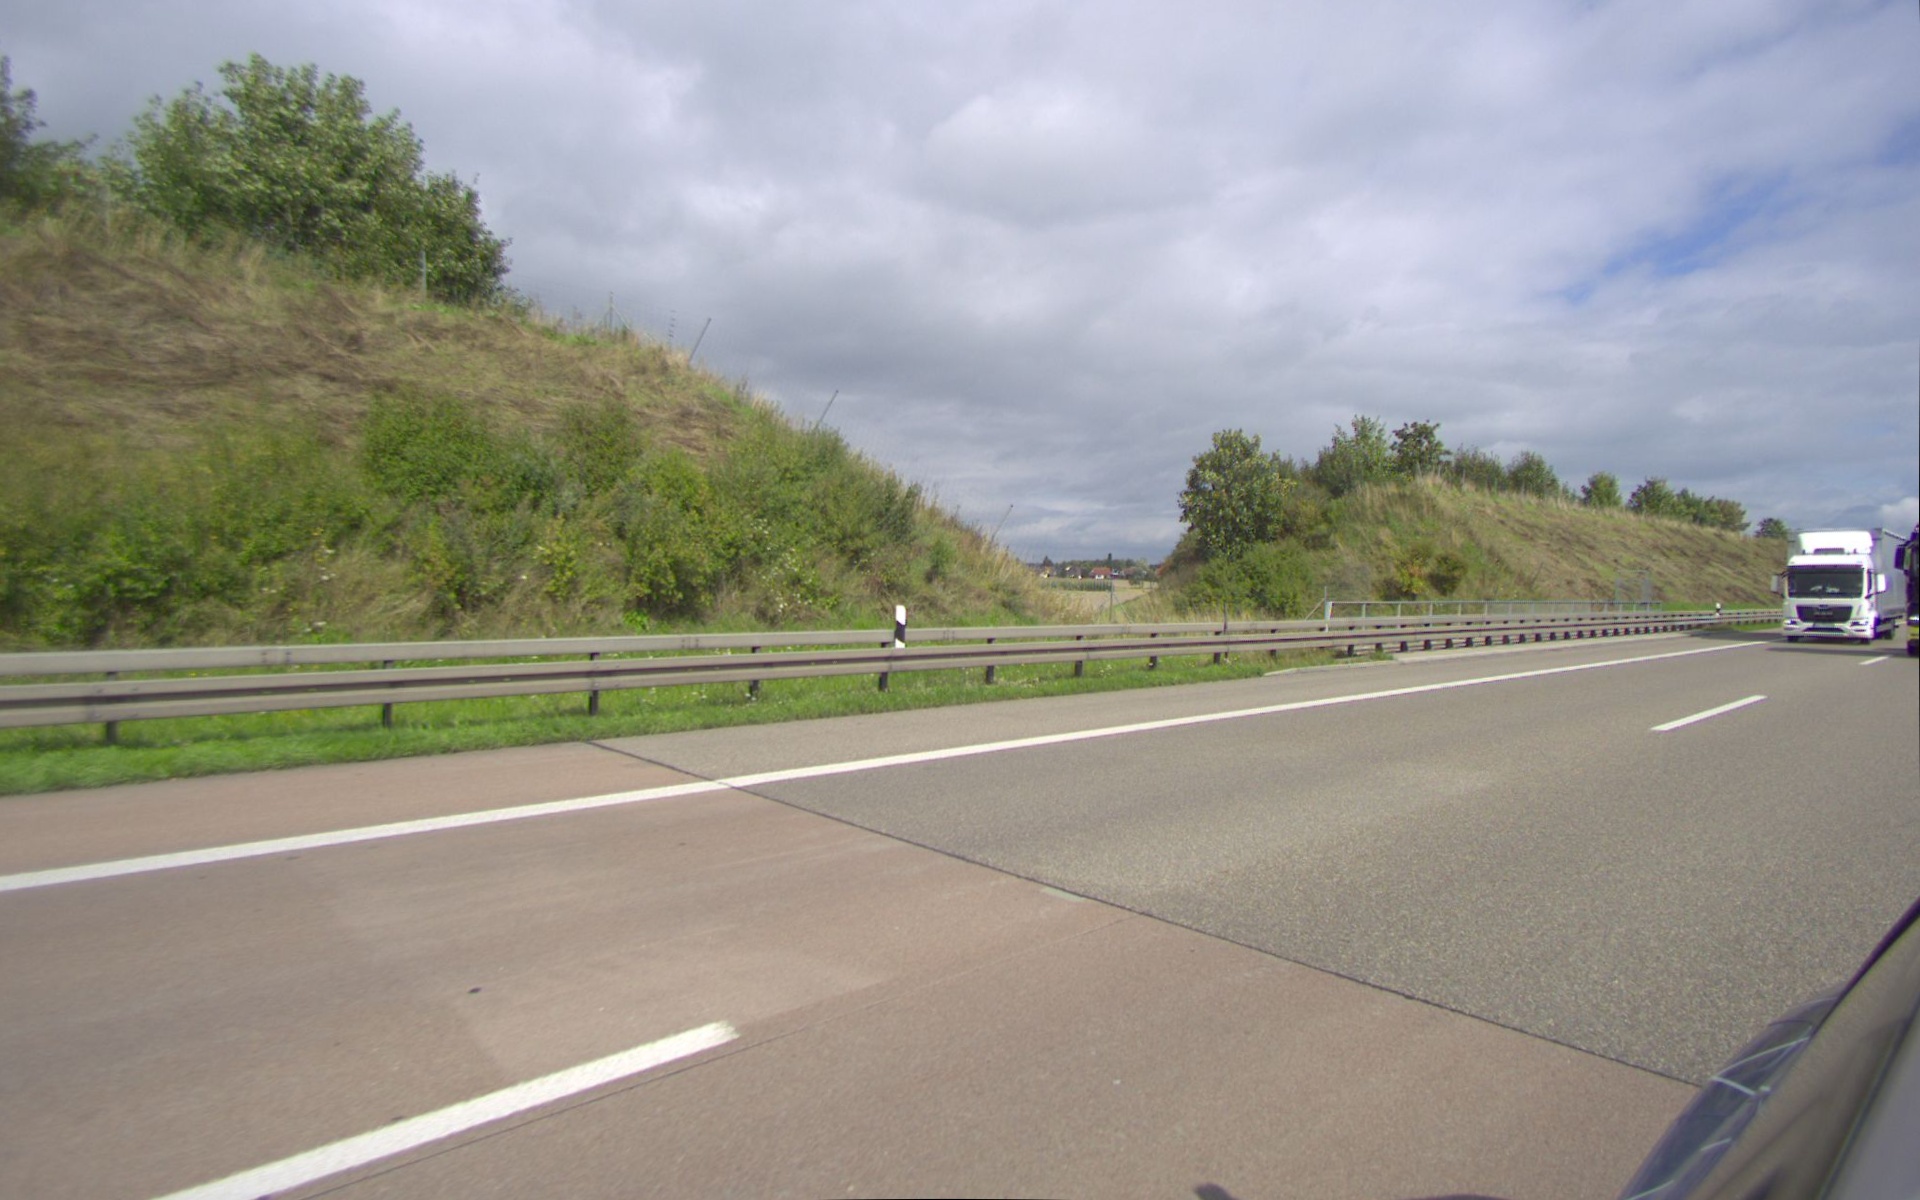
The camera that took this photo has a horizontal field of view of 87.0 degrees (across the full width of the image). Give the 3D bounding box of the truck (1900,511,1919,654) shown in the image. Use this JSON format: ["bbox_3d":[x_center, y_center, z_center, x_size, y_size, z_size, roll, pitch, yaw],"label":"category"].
[{"bbox_3d":[27.760,-0.480,27.430,8.181,3.594,2.850,-1,0,-44],"label":"truck"}]

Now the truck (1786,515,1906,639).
[{"bbox_3d":[30.569,-0.757,34.881,4.470,3.941,2.751,0,0,-44],"label":"truck"}]

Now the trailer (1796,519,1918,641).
[{"bbox_3d":[33.682,-0.724,37.879,8.527,4.062,2.750,-1,0,-44],"label":"trailer"}]
